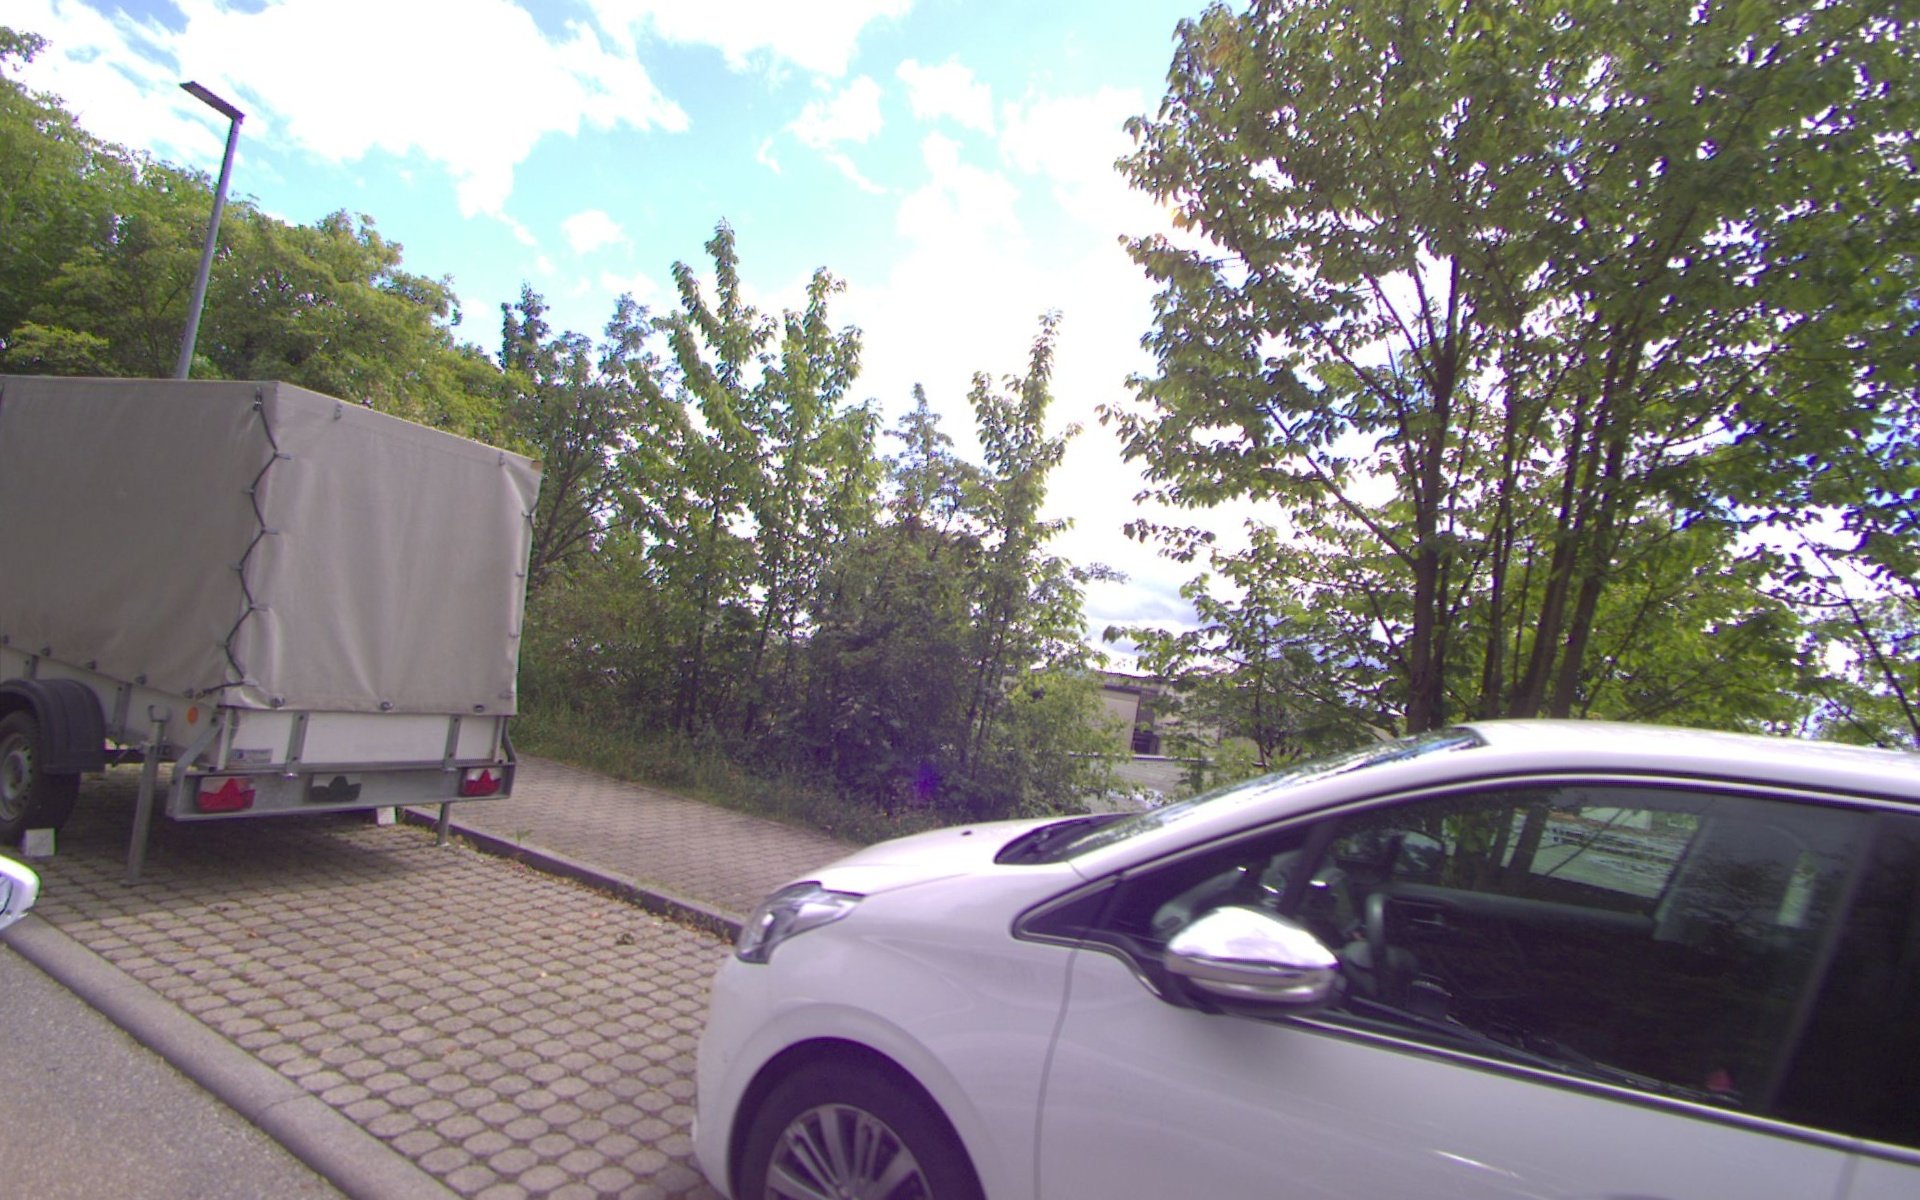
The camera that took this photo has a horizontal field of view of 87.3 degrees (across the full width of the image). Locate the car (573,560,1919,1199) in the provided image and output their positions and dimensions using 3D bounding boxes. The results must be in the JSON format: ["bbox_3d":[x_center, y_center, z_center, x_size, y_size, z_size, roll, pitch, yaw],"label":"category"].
[{"bbox_3d":[1.225,0.915,1.985,3.721,1.494,1.709,6,-2,32],"label":"car"}]

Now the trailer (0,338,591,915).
[{"bbox_3d":[-4.057,-0.016,5.266,3.717,2.102,1.735,7,-2,27],"label":"trailer"}]
